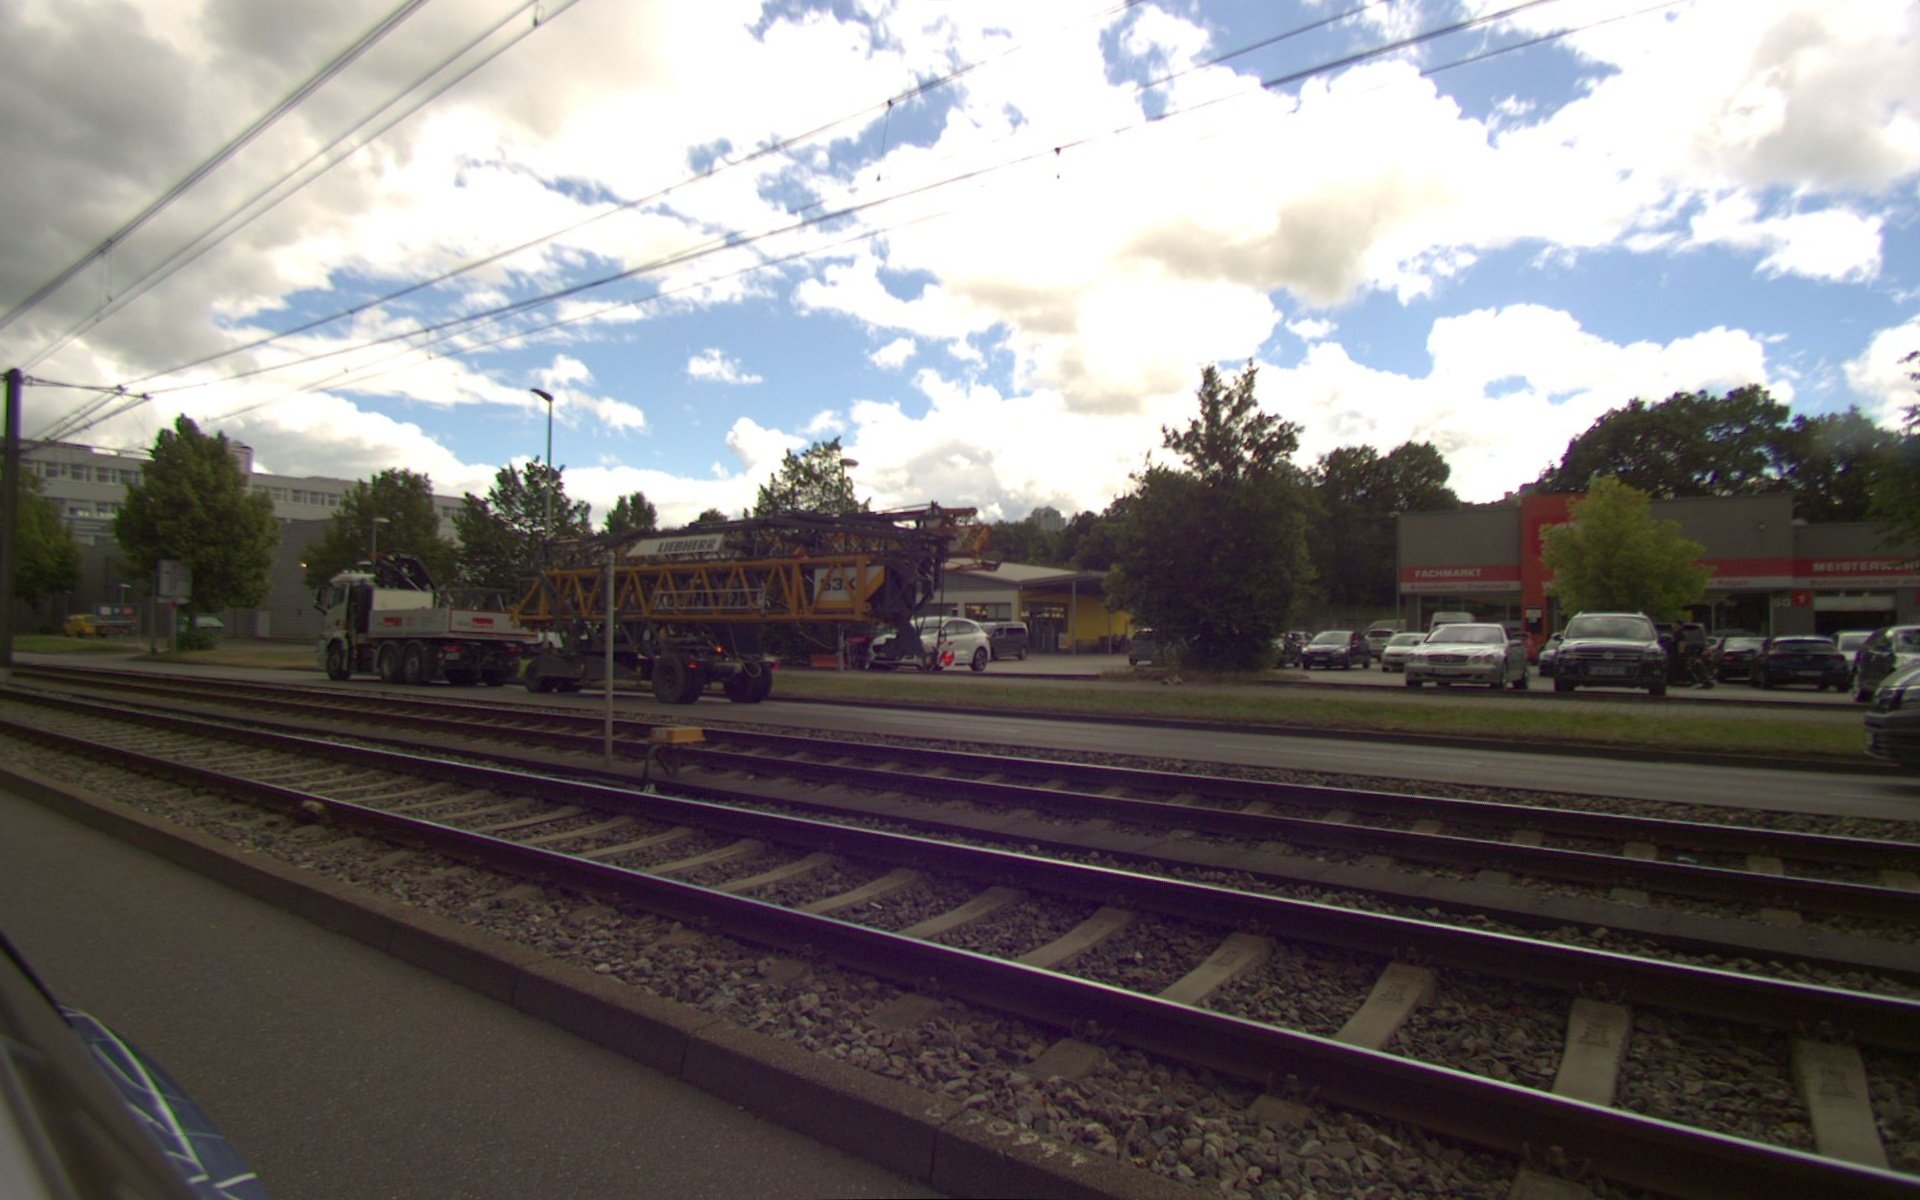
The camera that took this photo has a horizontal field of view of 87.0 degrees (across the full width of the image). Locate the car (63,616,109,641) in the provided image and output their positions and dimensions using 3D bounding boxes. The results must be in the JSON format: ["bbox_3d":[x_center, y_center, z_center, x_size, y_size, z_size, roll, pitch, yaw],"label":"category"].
[{"bbox_3d":[-73.390,2.406,84.946,3.991,2.029,1.976,-1,-3,36],"label":"car"}]

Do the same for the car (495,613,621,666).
[{"bbox_3d":[-16.160,1.552,40.844,1.998,1.933,4.302,-1,0,39],"label":"car"}]

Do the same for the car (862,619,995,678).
[{"bbox_3d":[-0.857,1.383,30.326,1.790,1.518,4.434,-1,0,33],"label":"car"}]

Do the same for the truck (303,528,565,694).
[{"bbox_3d":[-14.766,0.404,28.094,8.614,3.997,2.866,-2,-3,36],"label":"truck"}]

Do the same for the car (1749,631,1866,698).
[{"bbox_3d":[22.381,1.635,26.875,1.947,1.509,3.697,-1,0,34],"label":"car"}]

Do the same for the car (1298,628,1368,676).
[{"bbox_3d":[14.575,1.985,39.410,1.719,1.634,3.697,-1,0,34],"label":"car"}]

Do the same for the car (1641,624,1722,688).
[{"bbox_3d":[20.189,1.546,28.429,1.697,1.660,3.697,-1,-3,34],"label":"car"}]

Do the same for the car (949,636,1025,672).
[{"bbox_3d":[1.352,2.589,49.255,1.773,1.518,3.952,-1,0,35],"label":"car"}]

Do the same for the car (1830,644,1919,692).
[{"bbox_3d":[26.701,1.931,29.430,1.661,1.140,3.697,-1,0,34],"label":"car"}]

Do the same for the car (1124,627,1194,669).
[{"bbox_3d":[8.733,2.048,44.184,1.719,1.634,3.697,-1,0,34],"label":"car"}]

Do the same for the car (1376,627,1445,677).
[{"bbox_3d":[16.729,1.863,37.472,1.719,1.634,3.697,-1,0,34],"label":"car"}]

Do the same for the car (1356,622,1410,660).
[{"bbox_3d":[20.373,1.943,48.642,1.719,1.634,3.697,-1,0,34],"label":"car"}]

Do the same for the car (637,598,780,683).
[{"bbox_3d":[-8.736,1.437,35.487,2.284,2.770,4.430,-1,-3,36],"label":"car"}]

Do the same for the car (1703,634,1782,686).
[{"bbox_3d":[24.306,1.812,31.525,1.661,1.379,3.697,-1,0,34],"label":"car"}]

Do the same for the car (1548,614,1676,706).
[{"bbox_3d":[12.949,1.098,19.996,1.933,1.518,3.952,-1,0,36],"label":"car"}]

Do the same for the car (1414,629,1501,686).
[{"bbox_3d":[15.533,1.731,31.511,1.947,1.501,3.697,-1,0,34],"label":"car"}]

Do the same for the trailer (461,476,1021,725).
[{"bbox_3d":[-5.478,0.195,21.338,14.399,3.927,2.647,-1,-4,37],"label":"trailer"}]

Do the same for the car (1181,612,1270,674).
[{"bbox_3d":[9.477,1.476,36.004,1.947,2.029,3.697,-1,0,34],"label":"car"}]

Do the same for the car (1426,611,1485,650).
[{"bbox_3d":[22.817,1.386,46.530,1.916,1.634,3.697,-1,0,34],"label":"car"}]

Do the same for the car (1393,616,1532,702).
[{"bbox_3d":[10.605,1.146,21.229,1.998,1.518,3.952,-1,0,36],"label":"car"}]

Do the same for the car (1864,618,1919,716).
[{"bbox_3d":[16.817,1.061,17.028,1.933,1.432,3.952,-1,0,36],"label":"car"}]

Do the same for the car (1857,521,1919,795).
[{"bbox_3d":[11.653,0.529,8.438,5.986,2.518,1.852,-1,-4,35],"label":"car"}]
